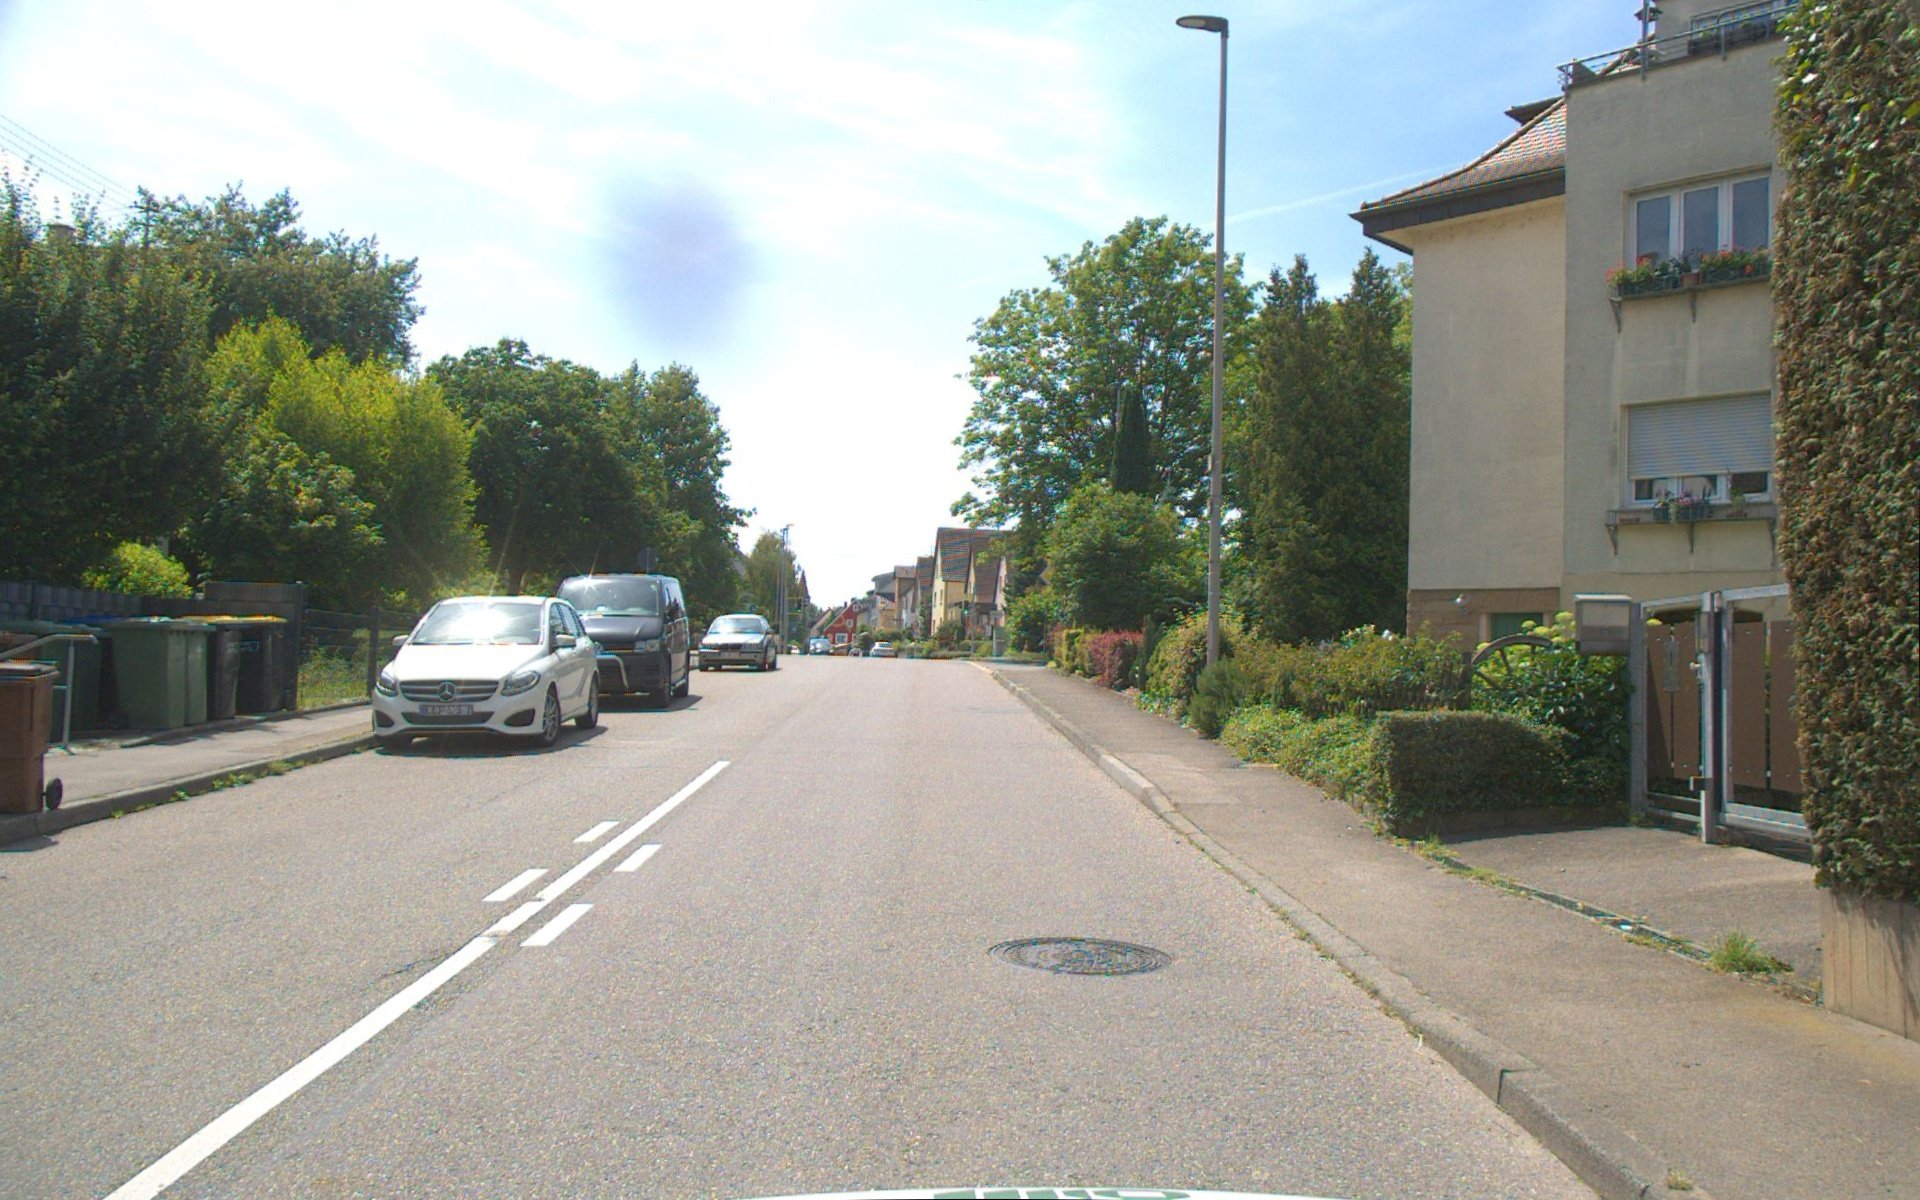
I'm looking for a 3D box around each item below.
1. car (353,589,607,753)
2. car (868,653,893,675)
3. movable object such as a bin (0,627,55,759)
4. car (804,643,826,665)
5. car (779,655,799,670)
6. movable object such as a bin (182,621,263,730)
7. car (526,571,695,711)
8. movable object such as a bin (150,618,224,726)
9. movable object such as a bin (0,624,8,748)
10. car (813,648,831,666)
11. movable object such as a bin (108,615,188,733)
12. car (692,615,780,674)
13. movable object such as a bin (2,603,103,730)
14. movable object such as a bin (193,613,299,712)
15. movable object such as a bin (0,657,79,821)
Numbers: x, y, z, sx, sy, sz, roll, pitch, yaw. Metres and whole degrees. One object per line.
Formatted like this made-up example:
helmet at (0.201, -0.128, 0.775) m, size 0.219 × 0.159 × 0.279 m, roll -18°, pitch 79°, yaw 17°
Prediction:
car at (-5.186, 0.734, 18.442) m, size 1.775 × 1.577 × 4.239 m, roll 2°, pitch -1°, yaw -4°
car at (-6.378, 5.147, 133.387) m, size 1.954 × 1.632 × 3.997 m, roll 1°, pitch -1°, yaw -3°
movable object such as a bin at (-8.940, 0.851, 15.456) m, size 0.535 × 1.199 × 0.674 m, roll 1°, pitch -1°, yaw 4°
car at (-14.399, 5.338, 163.824) m, size 1.844 × 1.999 × 4.893 m, roll 2°, pitch -1°, yaw -8°
car at (-19.581, 7.195, 189.943) m, size 2.068 × 1.588 × 4.310 m, roll 2°, pitch -3°, yaw -4°
movable object such as a bin at (-7.771, 0.792, 17.447) m, size 0.486 × 1.124 × 0.710 m, roll -1°, pitch -2°, yaw 5°
car at (-5.277, 0.602, 25.574) m, size 1.859 × 1.954 × 4.866 m, roll 0°, pitch -1°, yaw -4°
movable object such as a bin at (-7.784, 0.721, 16.675) m, size 0.446 × 1.062 × 0.560 m, roll -1°, pitch -2°, yaw 5°
movable object such as a bin at (-8.990, 0.766, 14.732) m, size 0.590 × 1.115 × 0.650 m, roll 1°, pitch -1°, yaw 5°
car at (-12.821, 5.257, 153.057) m, size 1.505 × 1.569 × 4.298 m, roll 2°, pitch -2°, yaw -6°
movable object such as a bin at (-7.867, 0.714, 16.039) m, size 0.506 × 1.124 × 0.529 m, roll 0°, pitch -2°, yaw -3°
car at (-5.719, 1.155, 42.668) m, size 1.744 × 1.419 × 4.407 m, roll 1°, pitch -2°, yaw -1°
movable object such as a bin at (-8.903, 0.644, 16.249) m, size 0.466 × 1.199 × 0.840 m, roll 1°, pitch -1°, yaw 4°
movable object such as a bin at (-8.125, 0.703, 18.839) m, size 0.881 × 1.088 × 0.695 m, roll 1°, pitch -1°, yaw -2°
movable object such as a bin at (-6.058, 0.875, 10.580) m, size 0.495 × 1.005 × 0.563 m, roll 1°, pitch -1°, yaw 5°
